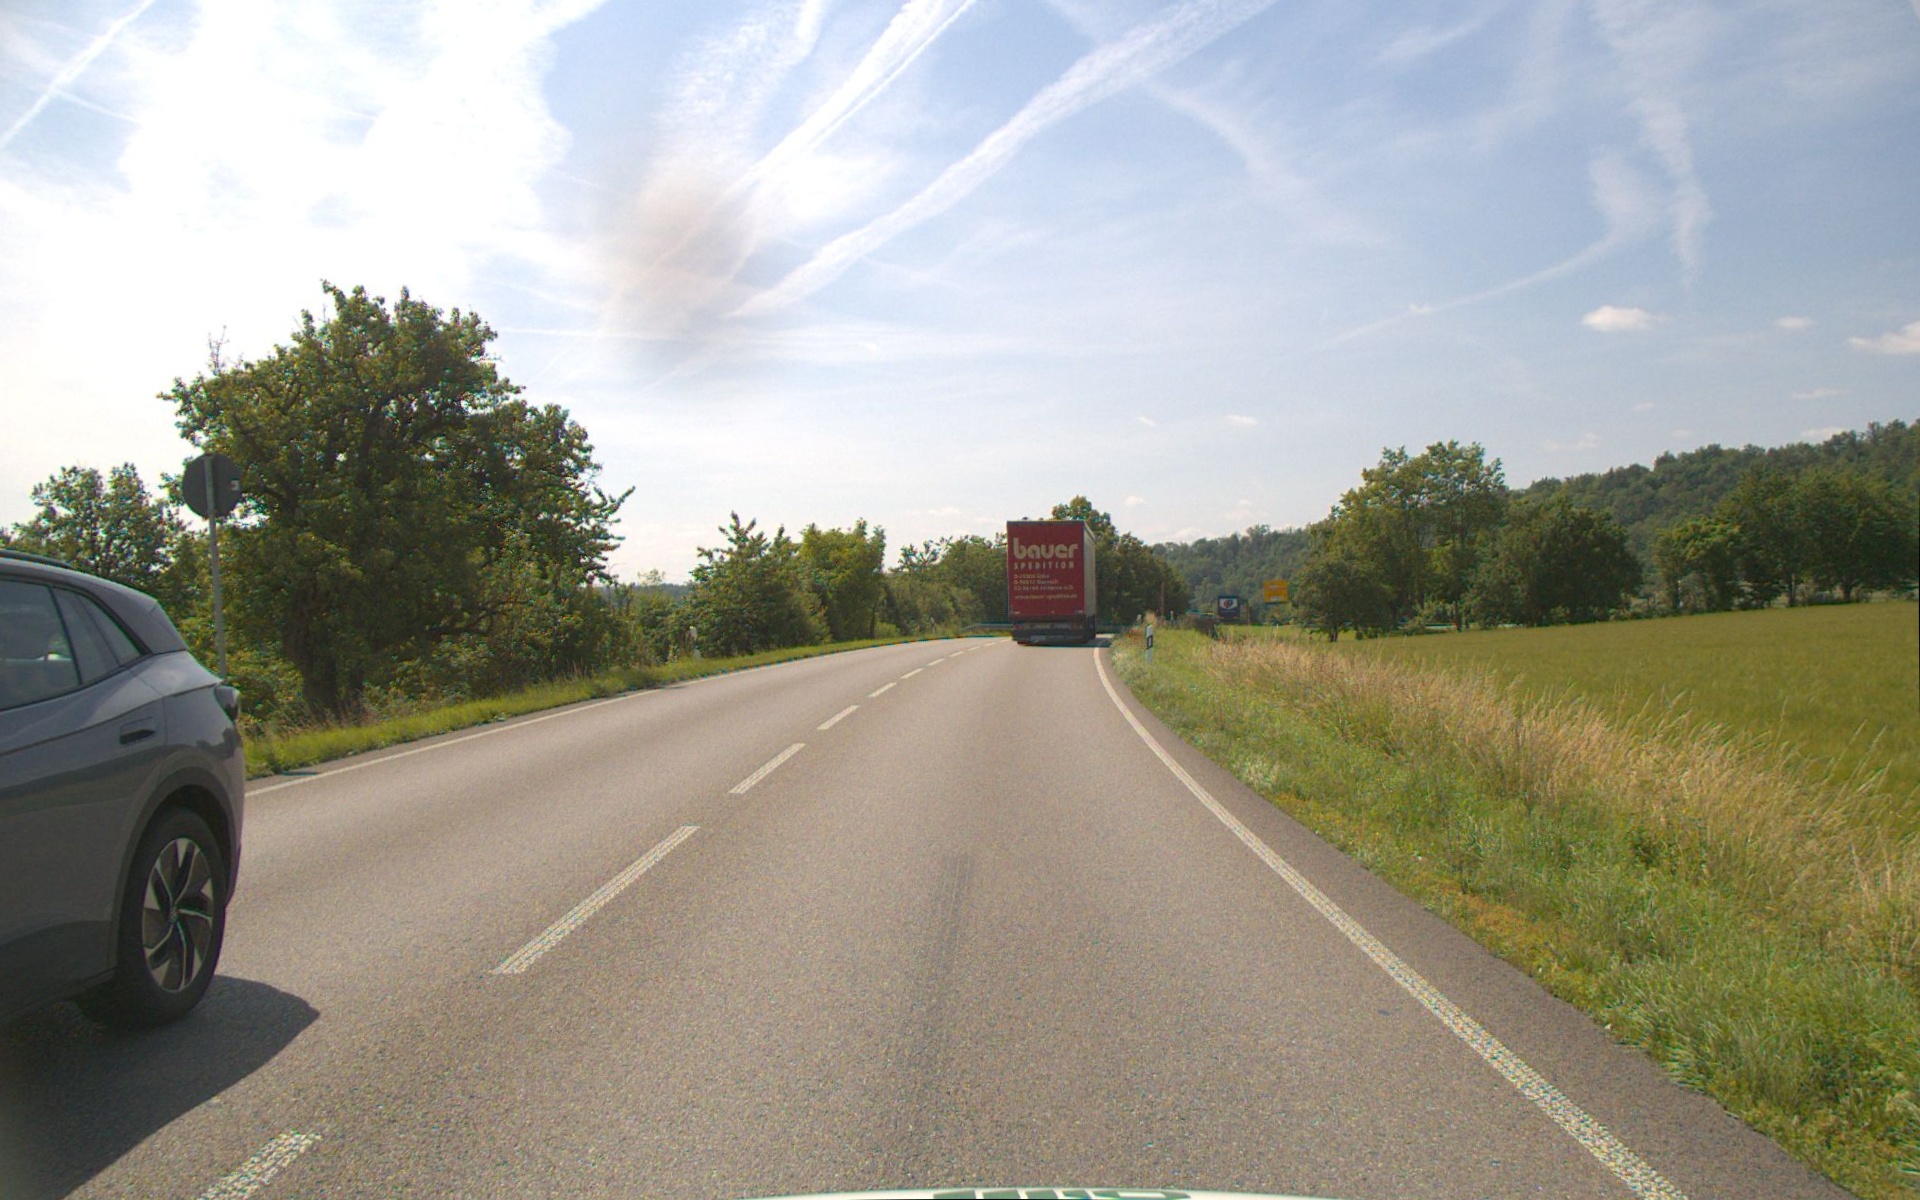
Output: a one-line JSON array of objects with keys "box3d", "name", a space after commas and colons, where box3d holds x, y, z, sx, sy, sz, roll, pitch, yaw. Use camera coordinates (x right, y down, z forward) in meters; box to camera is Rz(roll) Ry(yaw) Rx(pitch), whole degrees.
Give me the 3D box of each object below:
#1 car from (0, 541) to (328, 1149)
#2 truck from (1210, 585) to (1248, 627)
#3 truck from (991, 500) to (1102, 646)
[{"box3d": [-3.482, 0.659, 4.453, 1.841, 1.621, 4.491, 0, 0, 0], "name": "car"}, {"box3d": [33.092, 0.848, 202.927, 3.820, 4.772, 16.389, -2, -1, 11], "name": "truck"}, {"box3d": [3.269, -0.873, 58.559, 3.046, 4.584, 12.177, -1, 0, 7], "name": "truck"}]
